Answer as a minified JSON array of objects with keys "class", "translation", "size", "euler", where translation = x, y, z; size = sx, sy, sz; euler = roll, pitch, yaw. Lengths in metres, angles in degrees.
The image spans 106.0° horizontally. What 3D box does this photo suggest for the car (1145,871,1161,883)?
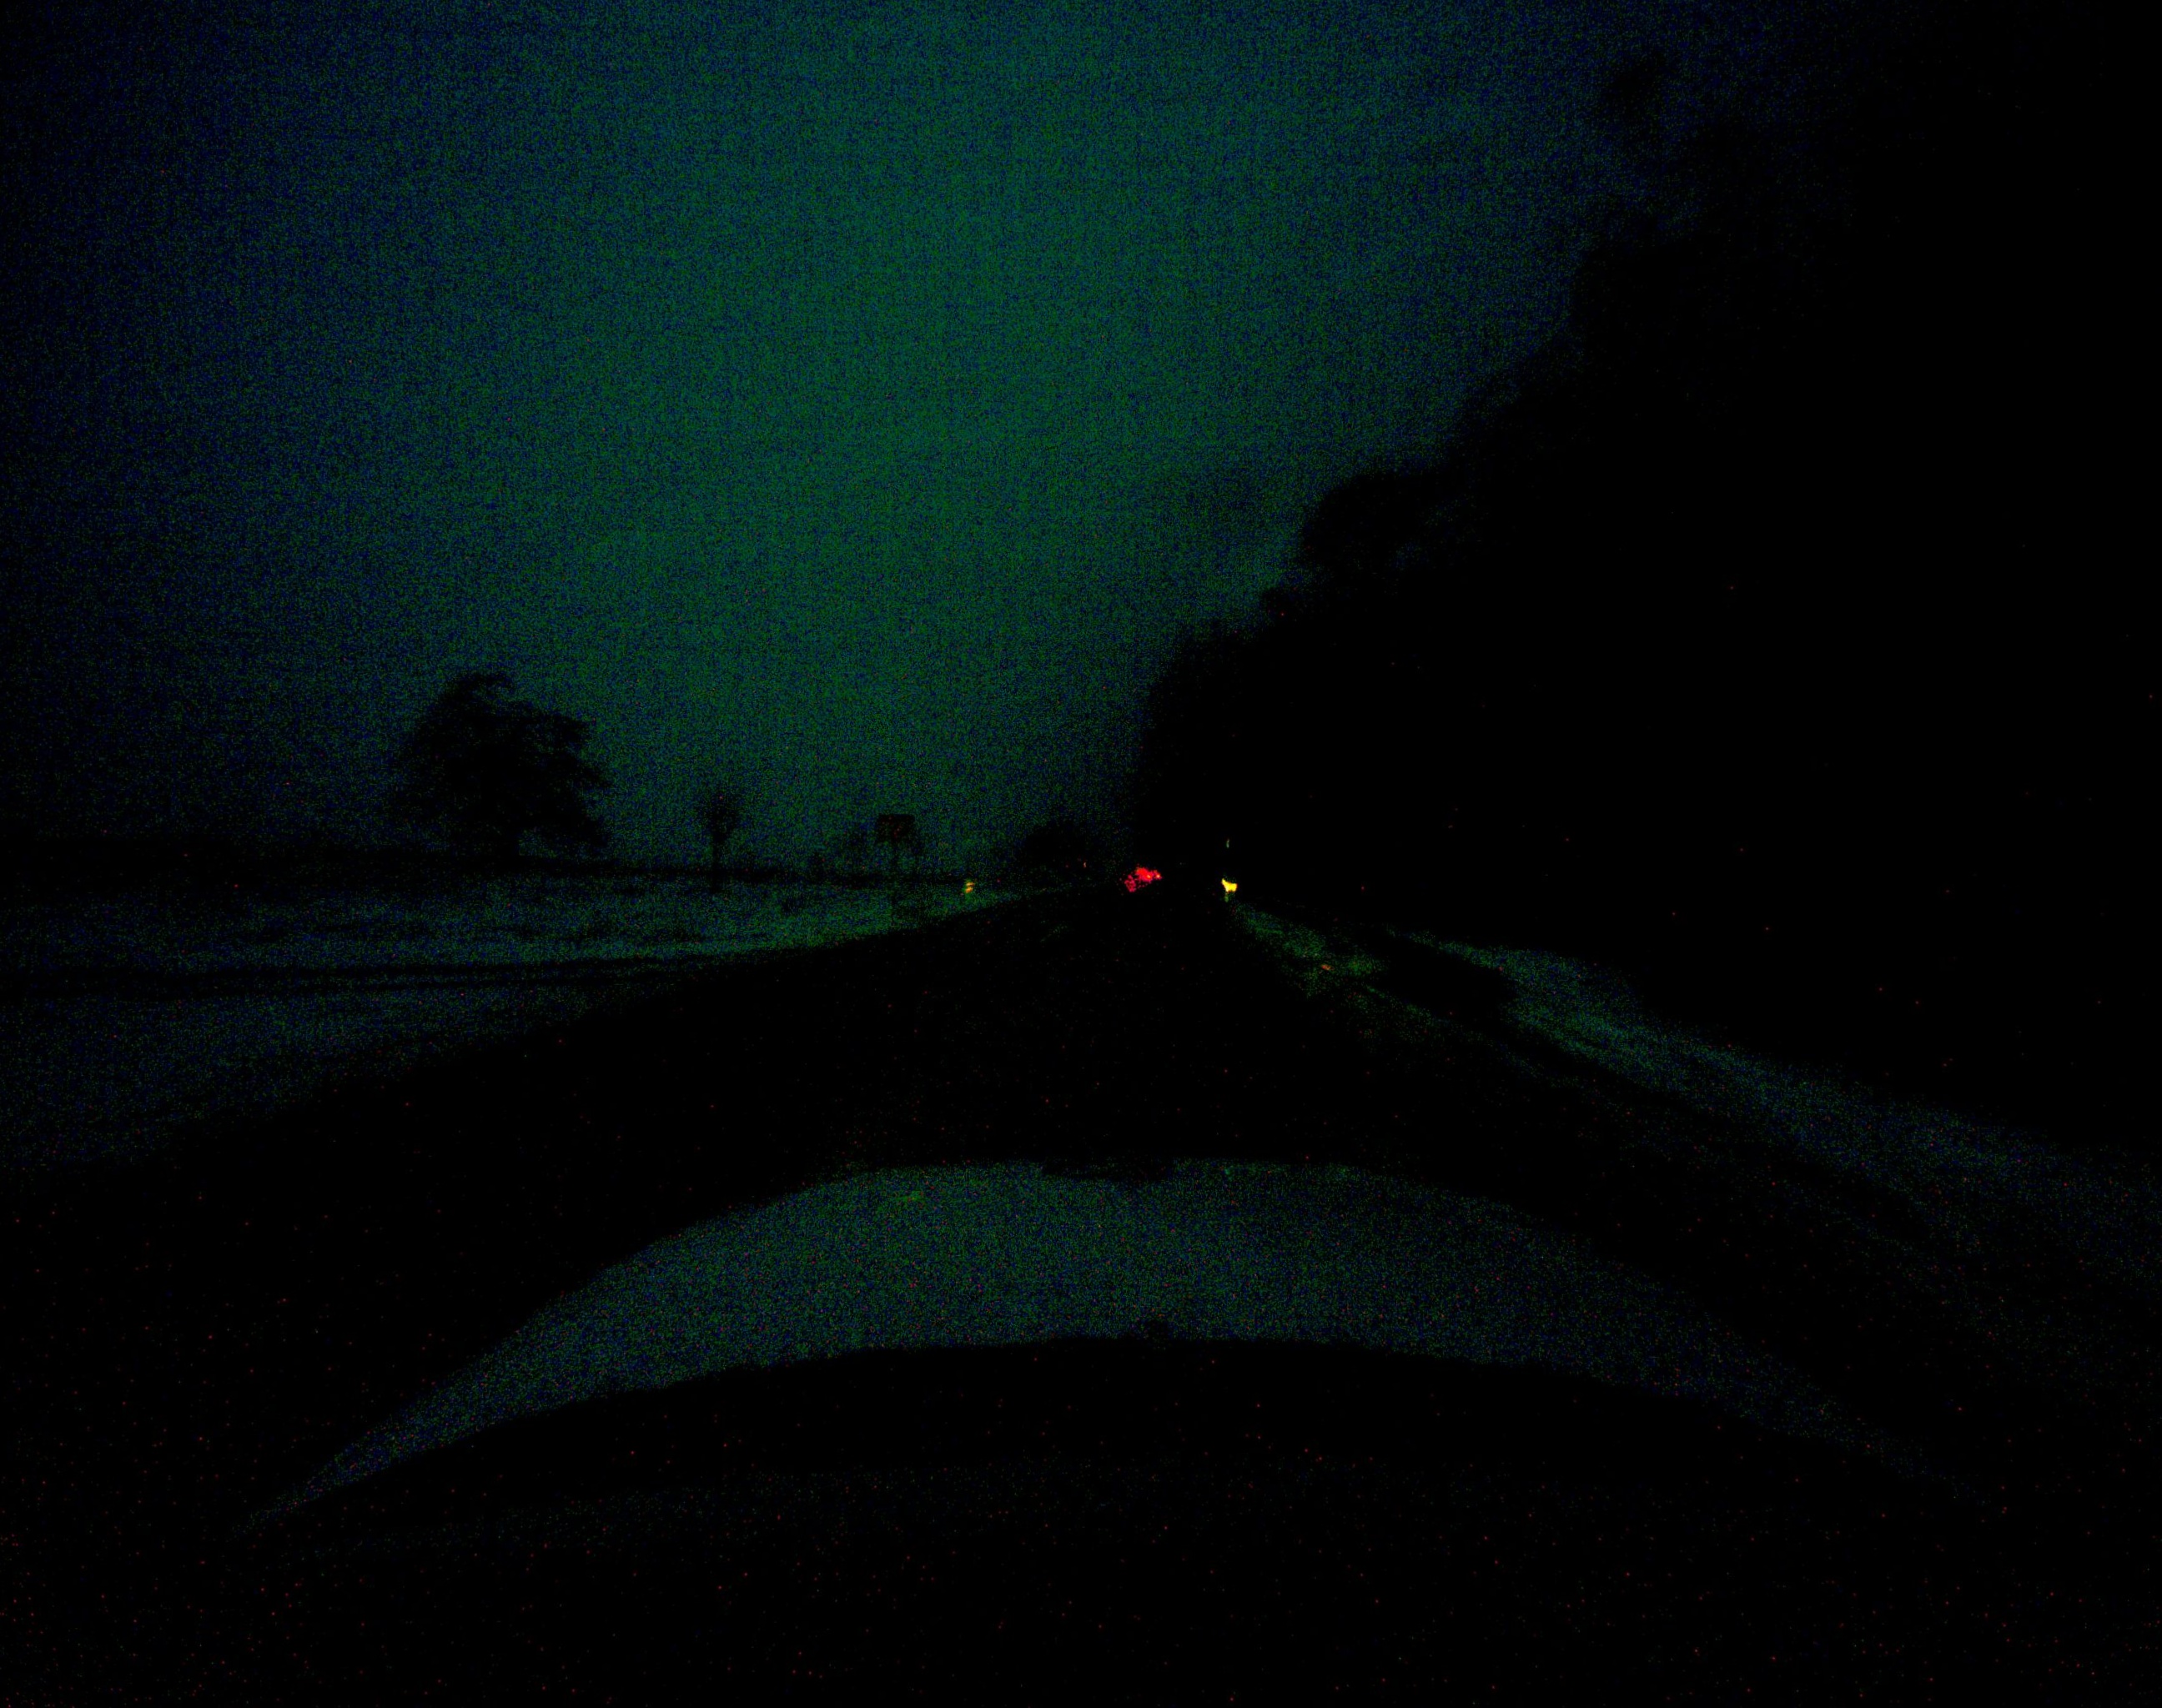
[{"class":"car","translation":[9.178,2.915,104.413],"size":[1.985,1.420,4.003],"euler":[-1,-3,3]}]
